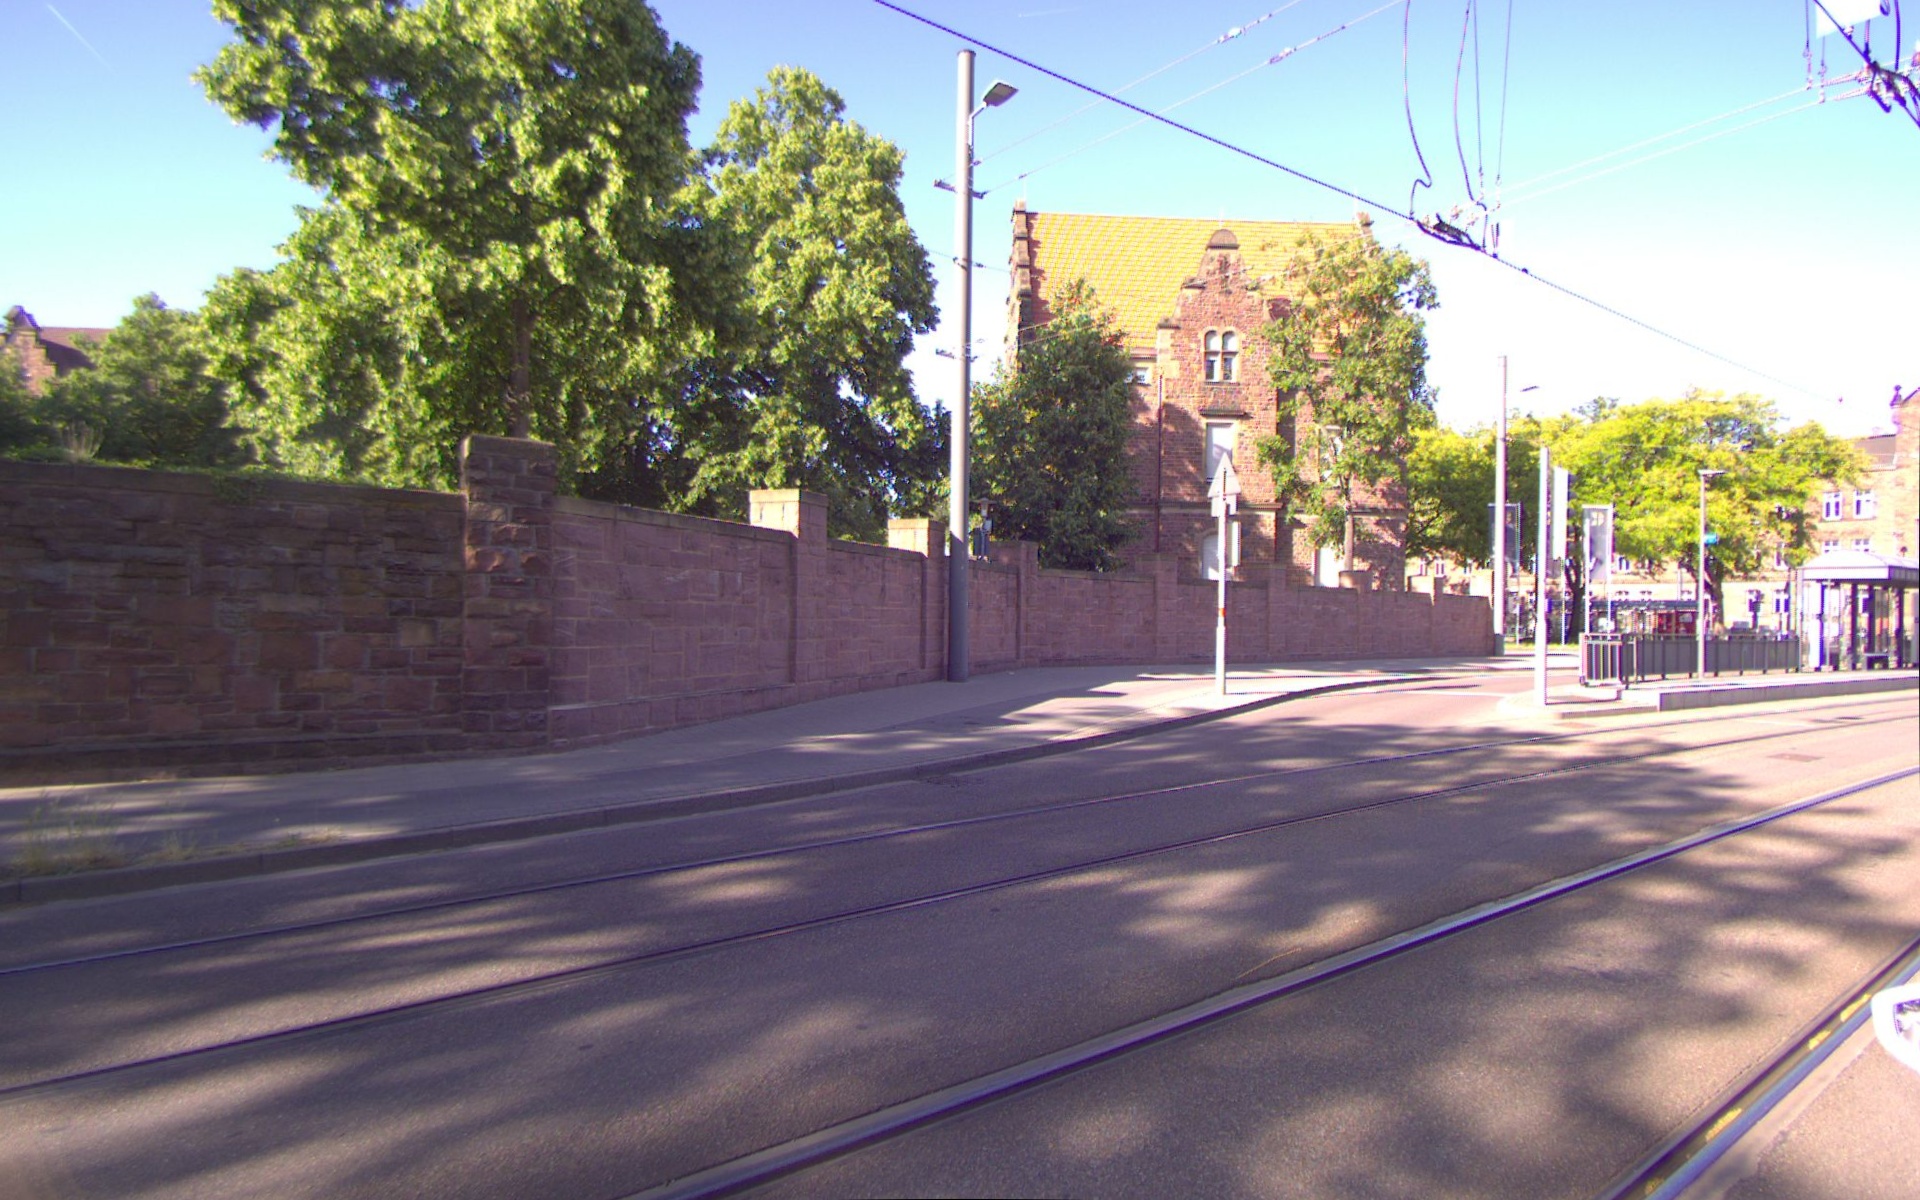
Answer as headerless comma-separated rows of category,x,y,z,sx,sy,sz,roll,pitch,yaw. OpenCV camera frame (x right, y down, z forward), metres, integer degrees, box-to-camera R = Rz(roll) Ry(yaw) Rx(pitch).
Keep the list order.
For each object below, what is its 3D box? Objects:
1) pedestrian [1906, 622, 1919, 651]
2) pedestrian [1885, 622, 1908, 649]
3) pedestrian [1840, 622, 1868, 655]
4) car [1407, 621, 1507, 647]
pedestrian,54.136,2.046,56.712,0.924,1.609,0.798,2,0,-32
pedestrian,55.525,2.104,59.553,0.924,1.609,0.798,2,0,-32
pedestrian,48.613,2.086,54.599,1.017,1.714,0.839,2,0,-30
car,40.867,2.791,82.759,2.957,1.946,6.915,1,-1,-30
